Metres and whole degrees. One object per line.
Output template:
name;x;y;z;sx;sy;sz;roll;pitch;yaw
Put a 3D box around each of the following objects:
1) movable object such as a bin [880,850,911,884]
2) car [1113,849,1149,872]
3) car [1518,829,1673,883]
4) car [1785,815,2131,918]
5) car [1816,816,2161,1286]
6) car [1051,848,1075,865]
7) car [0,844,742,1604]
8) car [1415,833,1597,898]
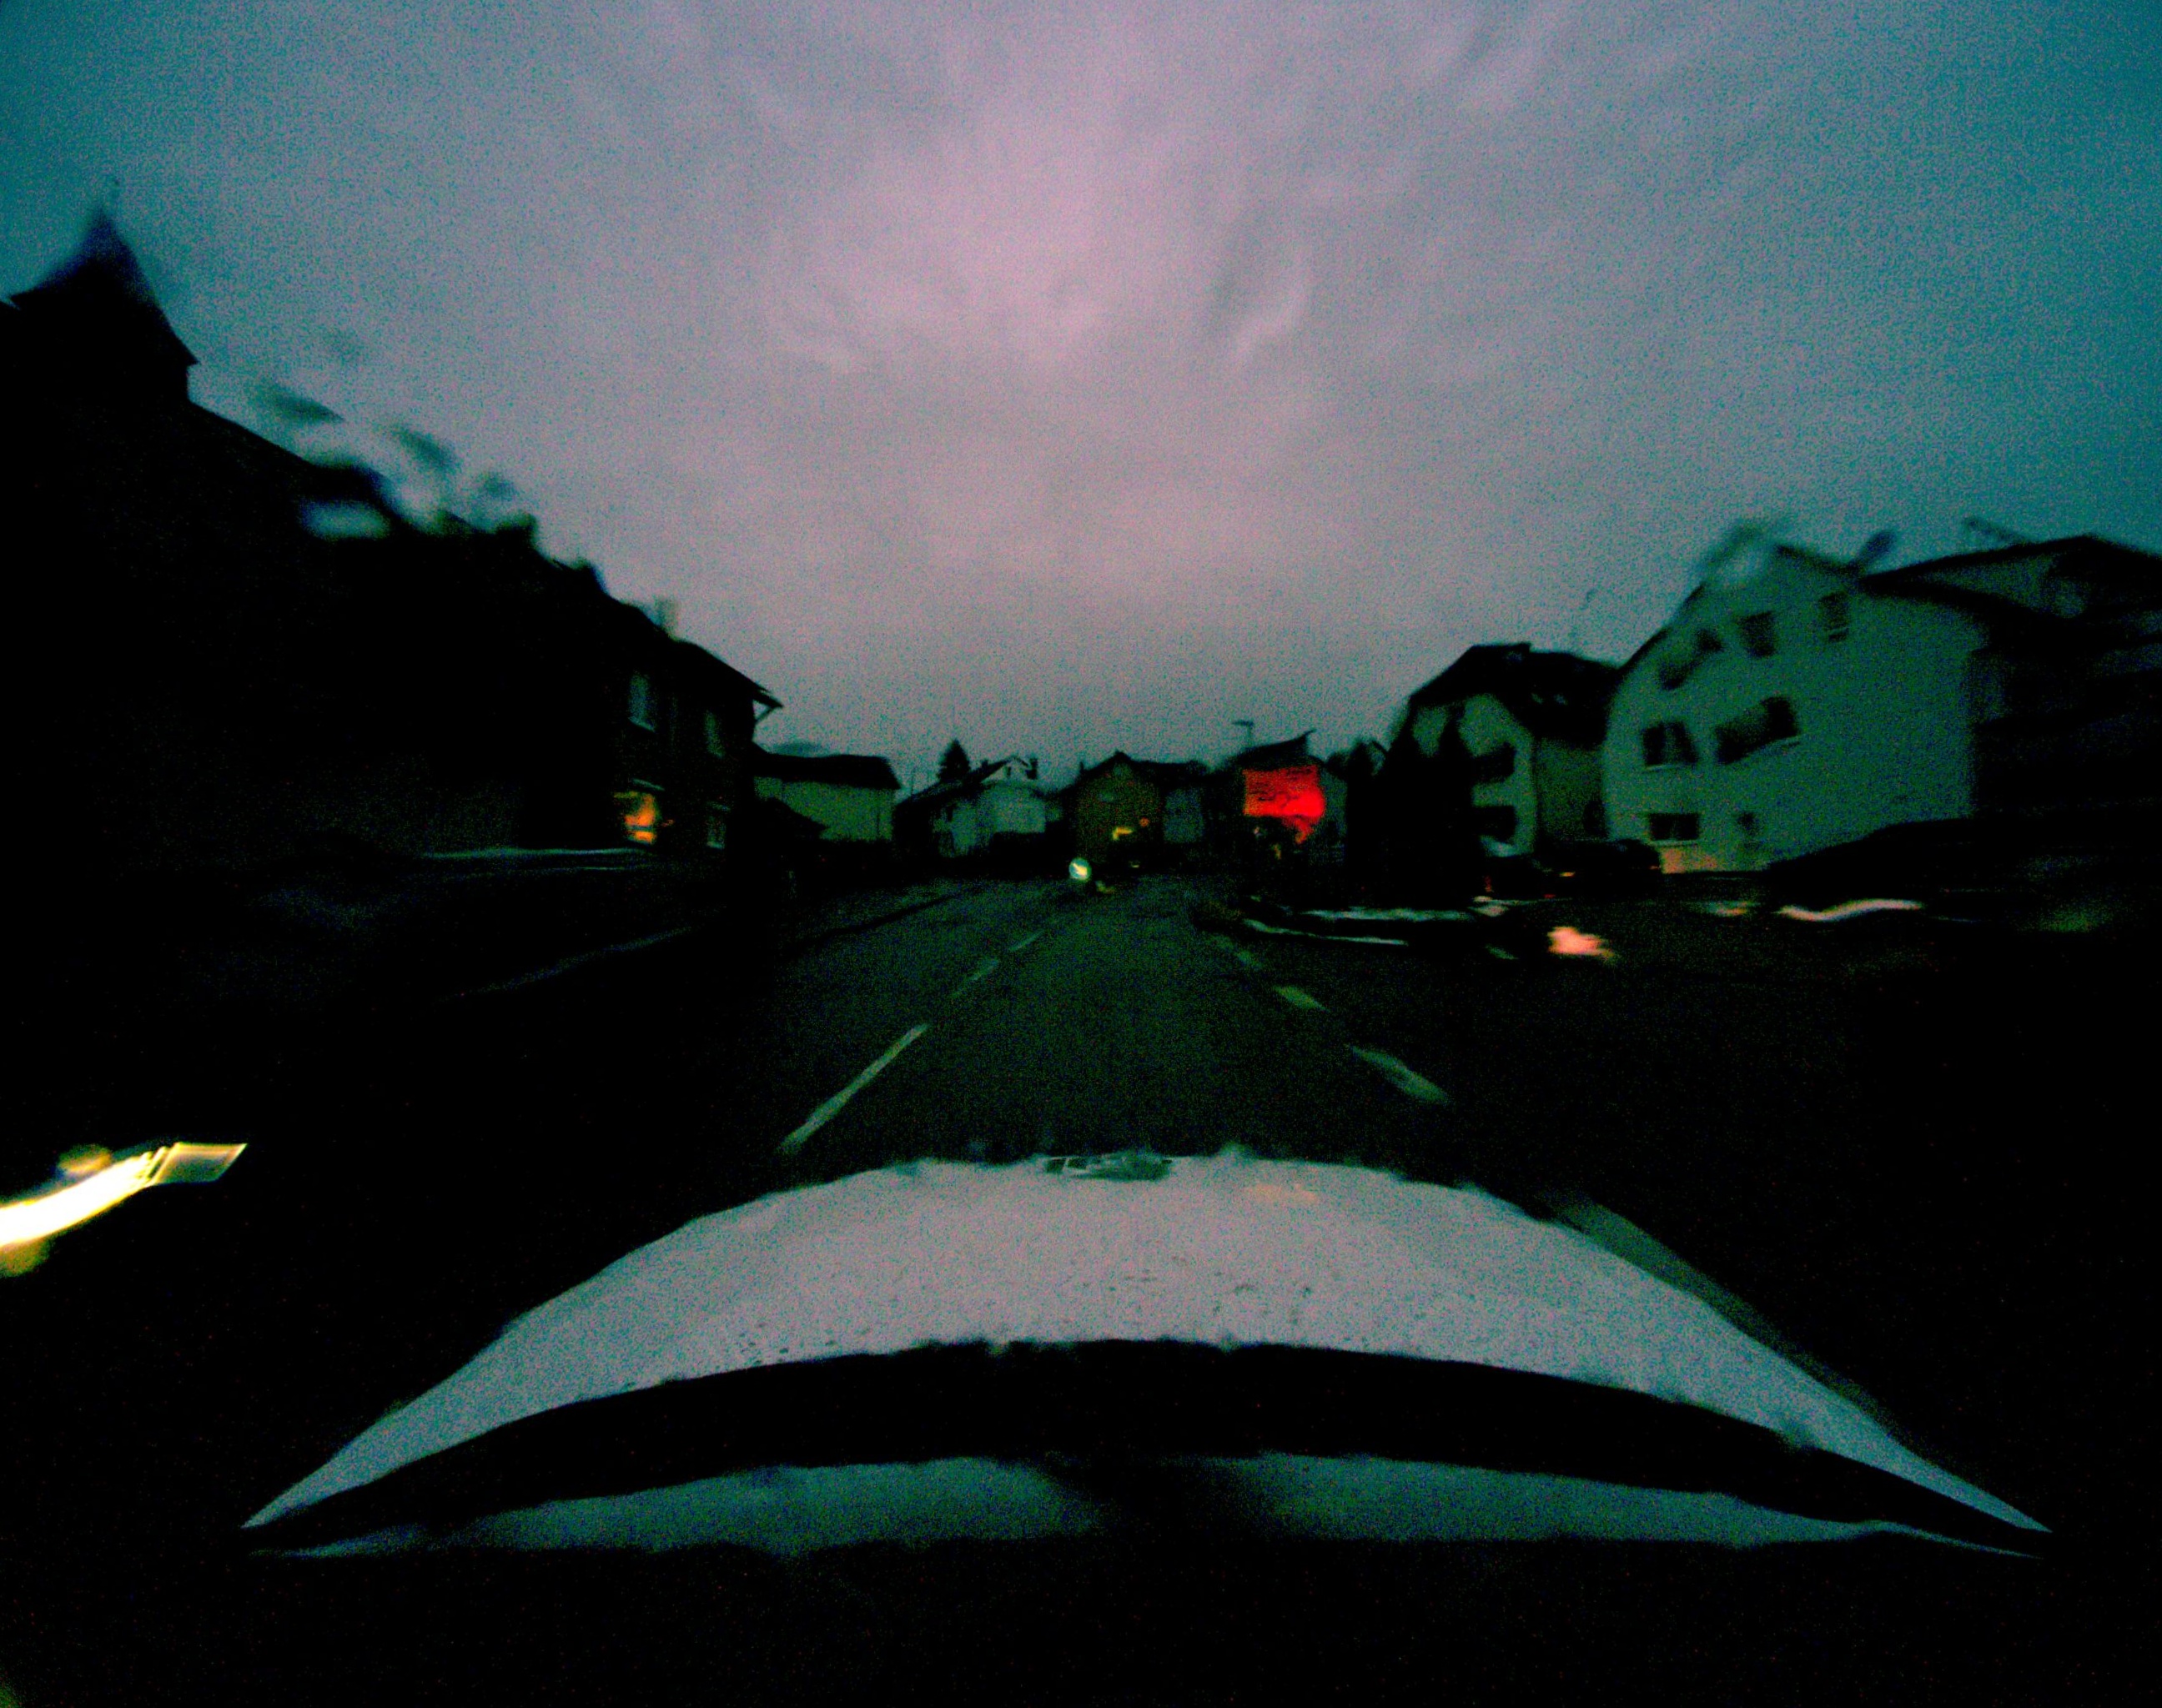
movable object such as a bin;-8.611;0.584;37.850;1.092;1.543;1.288;-1;0;0
car;3.822;0.455;62.996;1.993;1.644;3.989;0;1;-8
car;16.945;0.089;27.016;1.818;1.566;3.968;-3;0;-24
car;16.453;0.228;15.569;1.818;1.632;4.103;-3;0;-24
car;4.504;0.592;3.126;1.531;1.466;3.720;-1;0;26
car;-1.828;0.207;82.334;1.993;1.644;3.989;0;1;-8
car;-3.335;0.786;3.728;1.906;1.653;3.999;0;1;-1
car;12.226;0.328;23.775;1.818;1.628;4.514;-3;0;-24
